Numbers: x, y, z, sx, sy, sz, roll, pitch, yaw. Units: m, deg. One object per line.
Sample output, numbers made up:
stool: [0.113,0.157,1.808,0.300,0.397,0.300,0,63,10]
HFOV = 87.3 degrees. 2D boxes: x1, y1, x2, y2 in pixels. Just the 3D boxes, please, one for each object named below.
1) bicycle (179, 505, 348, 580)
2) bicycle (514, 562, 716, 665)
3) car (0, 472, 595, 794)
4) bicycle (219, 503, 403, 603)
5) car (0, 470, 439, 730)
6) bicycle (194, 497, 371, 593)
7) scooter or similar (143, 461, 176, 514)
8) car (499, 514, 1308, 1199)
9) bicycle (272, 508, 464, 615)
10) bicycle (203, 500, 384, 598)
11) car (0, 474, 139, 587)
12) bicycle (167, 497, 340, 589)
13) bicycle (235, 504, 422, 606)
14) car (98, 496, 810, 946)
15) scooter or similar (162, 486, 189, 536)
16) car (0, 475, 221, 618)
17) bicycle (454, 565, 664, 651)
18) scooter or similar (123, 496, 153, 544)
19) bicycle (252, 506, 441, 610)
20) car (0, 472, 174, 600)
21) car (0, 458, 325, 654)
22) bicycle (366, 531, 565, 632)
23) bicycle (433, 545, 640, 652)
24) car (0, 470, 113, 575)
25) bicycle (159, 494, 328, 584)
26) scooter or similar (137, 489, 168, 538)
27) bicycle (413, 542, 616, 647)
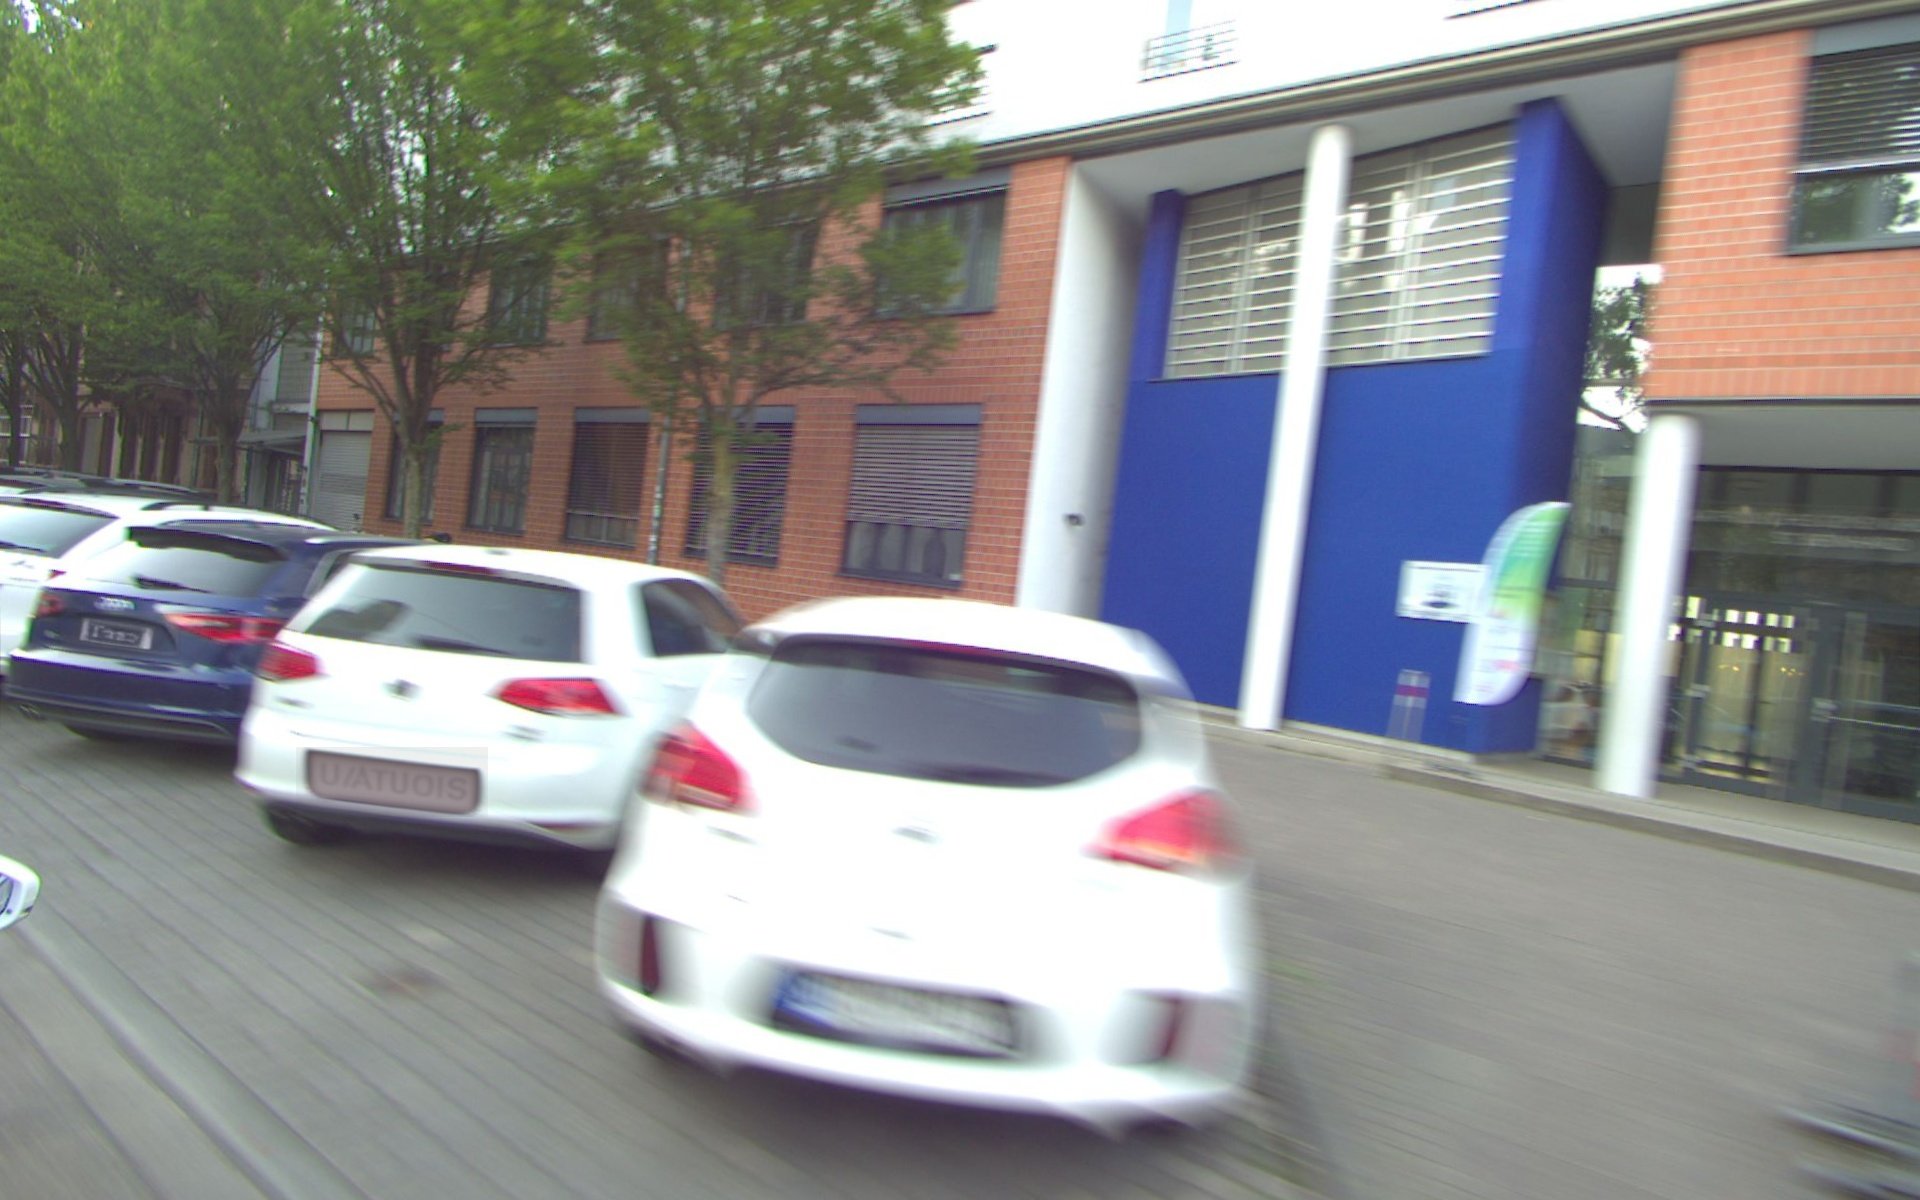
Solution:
bicycle: [-12.949,-1.035,18.800,0.590,1.262,2.529,8,5,37]
bicycle: [-4.209,0.182,12.481,0.669,1.114,2.343,8,3,37]
car: [-4.395,0.185,7.277,1.677,1.542,4.001,6,0,4]
bicycle: [-11.234,-0.781,17.531,0.590,1.396,2.534,8,0,37]
car: [-6.289,-0.057,8.215,1.605,1.556,4.001,8,0,4]
bicycle: [-12.302,-0.956,18.369,0.590,1.396,2.534,8,0,37]
scooter or similar: [-19.645,-2.757,24.677,0.464,1.236,1.753,-3,7,-43]
car: [0.024,0.700,4.339,1.737,1.525,4.001,7,0,6]
bicycle: [-9.533,-0.582,16.329,0.590,1.396,2.534,8,0,37]
bicycle: [-11.808,-0.864,17.937,0.590,1.396,2.534,8,0,37]
car: [-14.792,-1.155,14.473,1.773,1.553,4.389,7,0,11]
bicycle: [-13.392,-1.047,19.171,0.590,1.396,2.534,8,0,37]
bicycle: [-10.668,-0.726,17.115,0.590,1.396,2.534,8,0,37]
car: [-2.208,0.471,5.768,1.840,1.491,4.000,6,0,2]
scooter or similar: [-20.630,-2.344,26.455,0.409,1.235,1.753,-1,6,-43]
car: [-10.856,-0.651,11.539,1.690,1.500,3.607,7,0,7]
bicycle: [-5.169,0.125,13.180,0.669,0.972,2.531,8,3,37]
scooter or similar: [-22.485,-2.194,27.526,0.366,1.234,1.606,3,2,-31]
bicycle: [-10.119,-0.655,16.710,0.590,1.396,2.534,8,0,37]
car: [-12.684,-0.906,13.191,1.533,1.553,3.607,7,0,7]
car: [-8.522,-0.440,10.159,1.684,1.600,3.605,7,0,2]
bicycle: [-7.119,-0.226,14.657,0.553,1.180,2.534,8,0,37]
bicycle: [-5.602,0.024,13.509,0.553,1.180,2.534,8,0,37]
car: [-16.891,-1.448,16.682,1.725,1.657,4.000,7,1,15]
bicycle: [-13.928,-1.151,19.652,0.590,1.396,2.534,8,0,37]
scooter or similar: [-21.740,-2.328,27.104,0.366,1.234,1.689,3,2,-31]
bicycle: [-6.096,-0.031,13.965,0.553,1.180,2.534,8,0,37]
